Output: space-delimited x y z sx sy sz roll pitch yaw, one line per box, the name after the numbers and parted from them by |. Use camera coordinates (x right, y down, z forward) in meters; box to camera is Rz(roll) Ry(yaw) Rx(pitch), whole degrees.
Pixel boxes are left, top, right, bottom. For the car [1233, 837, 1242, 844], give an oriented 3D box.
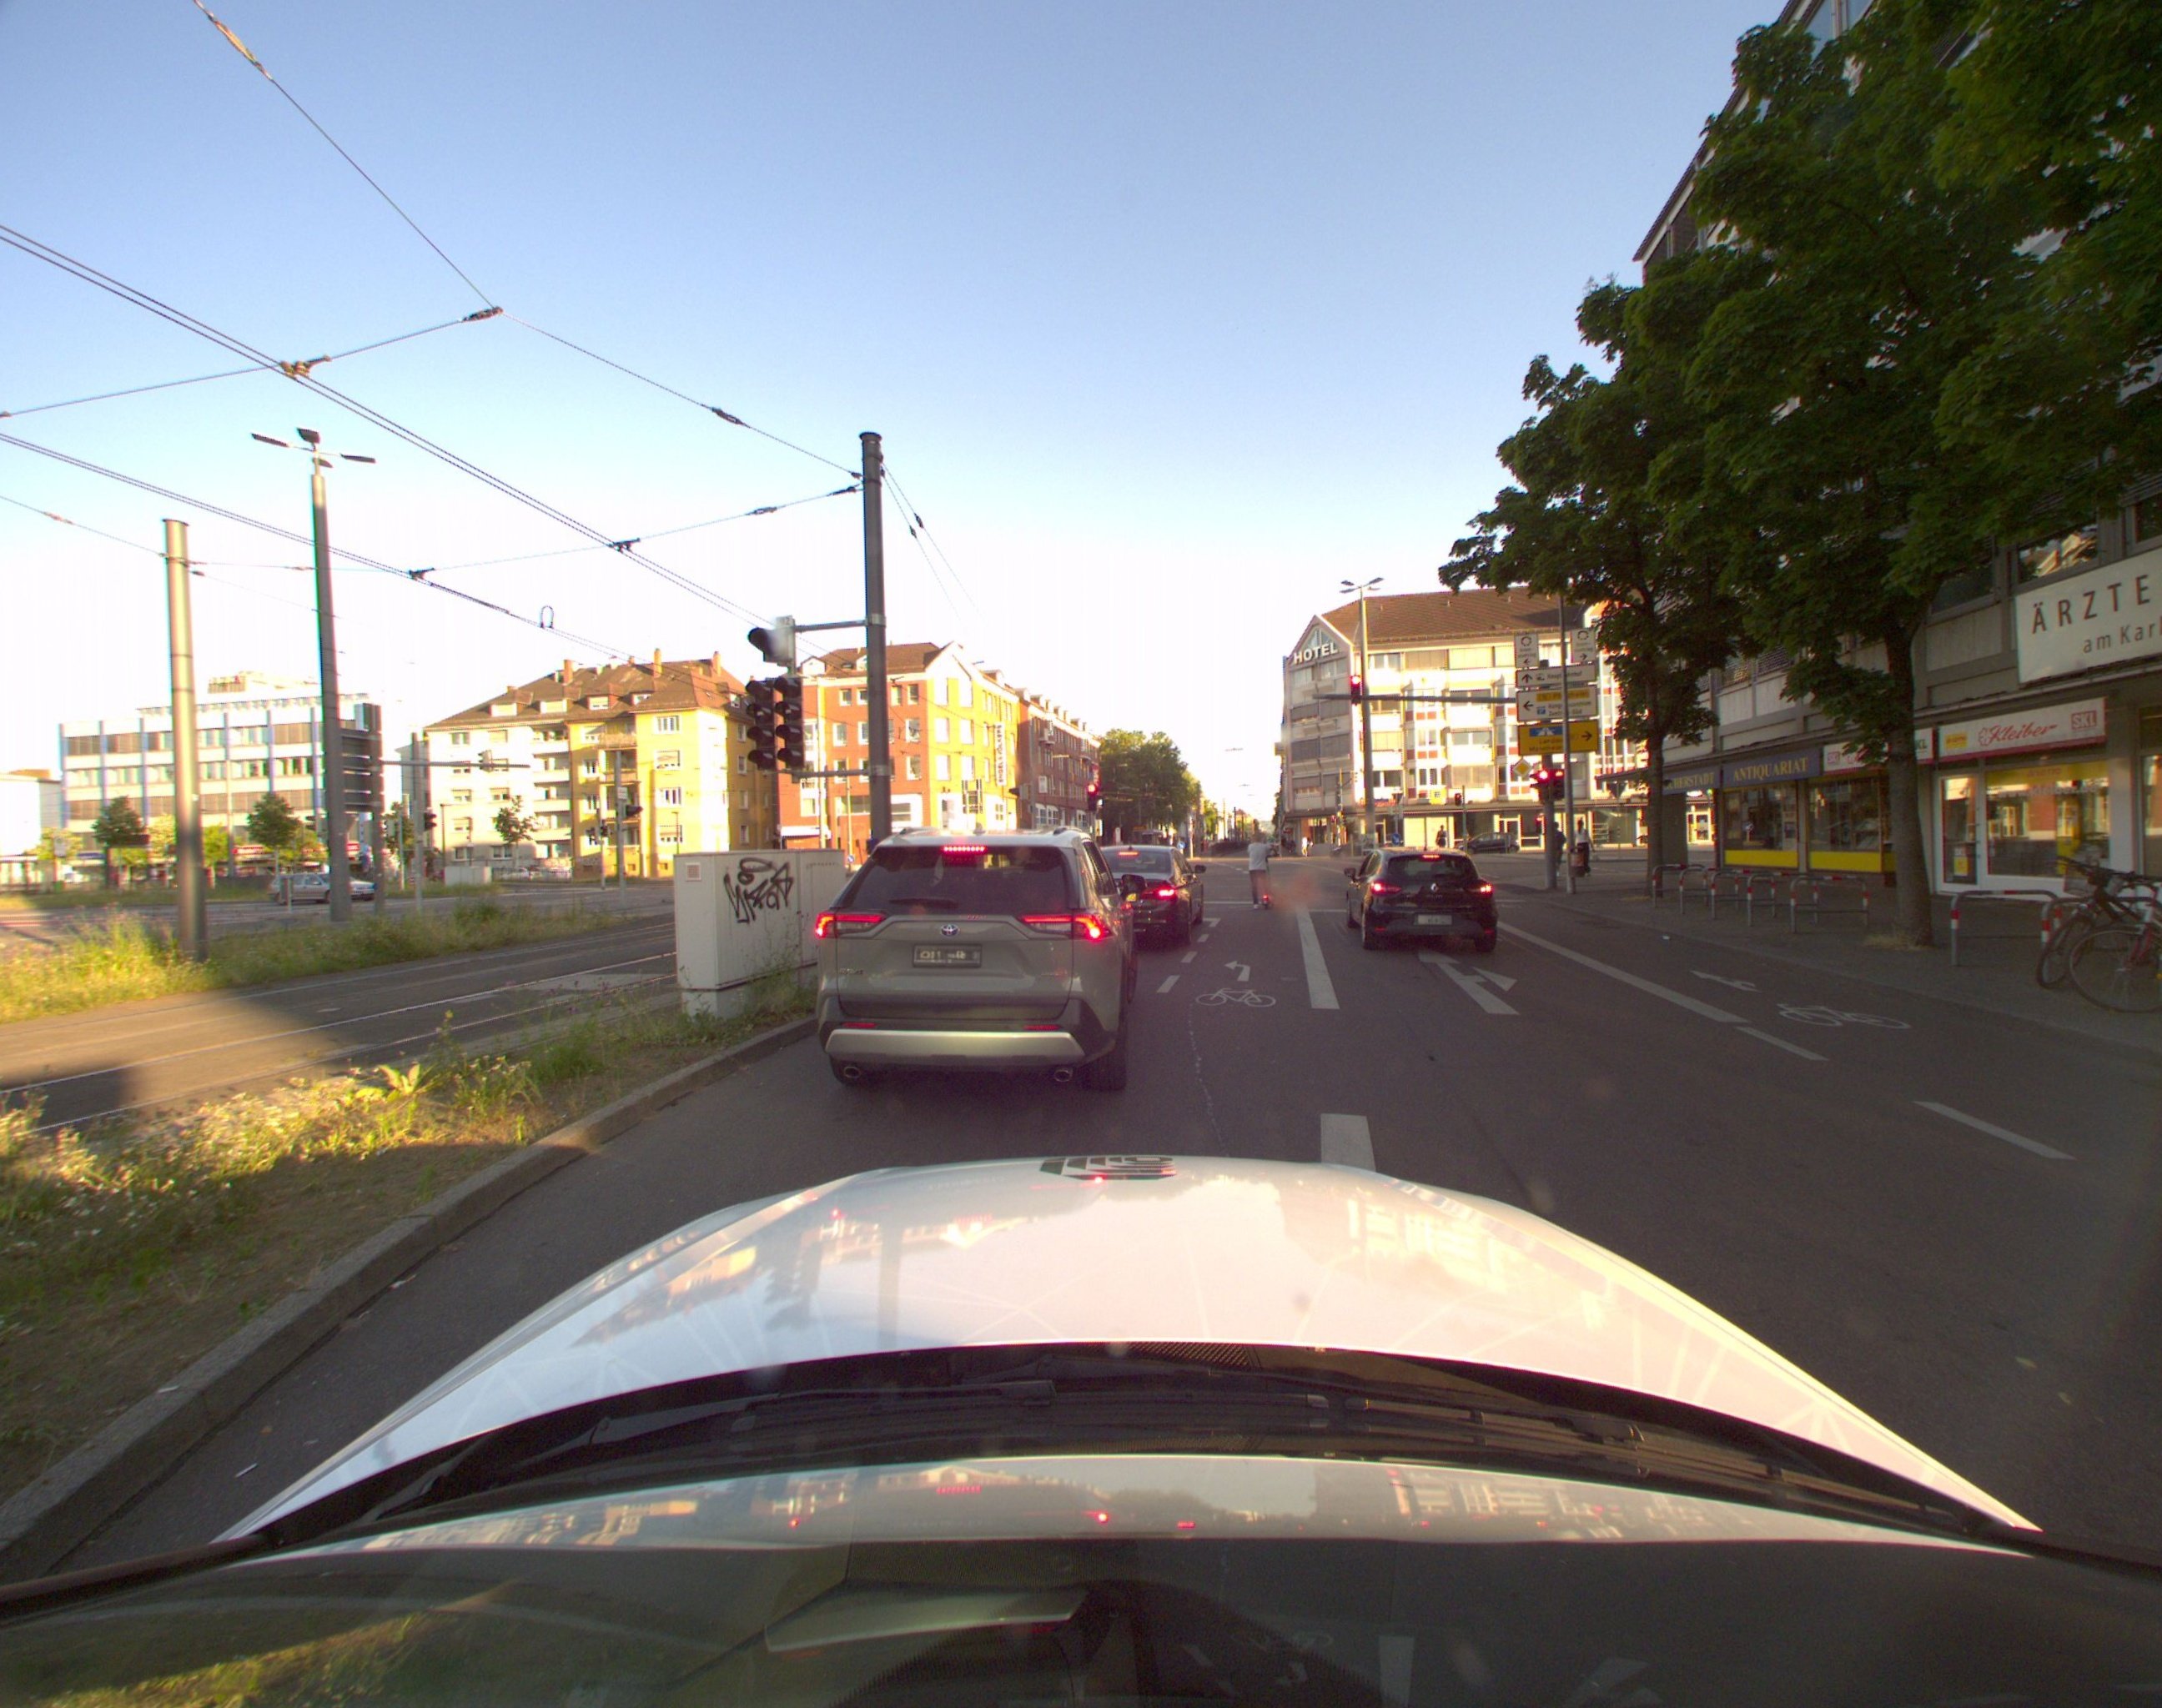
38.717 -3.347 201.538 1.978 1.859 4.017 -2 1 16 | car

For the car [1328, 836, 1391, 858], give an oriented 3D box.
19.455 -0.477 57.054 3.961 1.476 2.006 0 1 11 | car

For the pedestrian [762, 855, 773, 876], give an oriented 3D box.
-26.745 0.972 69.512 0.663 1.743 0.691 -1 0 2 | pedestrian

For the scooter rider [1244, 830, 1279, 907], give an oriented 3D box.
3.954 0.298 17.840 0.656 1.647 0.665 0 1 21 | scooter rider

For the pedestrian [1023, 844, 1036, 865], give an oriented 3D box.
-5.012 0.010 79.220 1.086 2.013 0.911 0 1 11 | pedestrian

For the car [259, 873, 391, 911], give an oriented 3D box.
-34.495 1.719 37.221 4.316 1.551 2.003 -1 1 5 | car

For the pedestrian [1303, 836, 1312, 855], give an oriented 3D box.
18.584 -0.684 66.770 0.495 1.503 0.472 -2 0 -25 | pedestrian

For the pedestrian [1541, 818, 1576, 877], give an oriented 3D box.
15.184 -0.197 25.910 1.003 1.830 0.720 -1 1 -44 | pedestrian

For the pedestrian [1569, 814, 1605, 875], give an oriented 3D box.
15.712 -0.292 25.285 1.003 1.830 0.720 -1 1 -43 | pedestrian

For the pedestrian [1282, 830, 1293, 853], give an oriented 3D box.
21.381 -1.319 84.471 1.077 2.365 1.060 0 1 14 | pedestrian

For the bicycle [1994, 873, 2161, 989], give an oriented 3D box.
9.305 0.667 7.207 1.643 0.974 0.388 0 1 20 | bicycle

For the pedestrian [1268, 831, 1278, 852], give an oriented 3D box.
20.606 -1.371 87.412 0.926 2.196 0.855 0 1 10 | pedestrian

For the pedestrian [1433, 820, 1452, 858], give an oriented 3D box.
17.213 -0.707 38.768 0.741 1.778 0.803 0 0 16 | pedestrian

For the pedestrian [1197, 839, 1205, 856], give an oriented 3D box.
11.795 -0.657 80.048 0.696 1.663 0.811 0 1 15 | pedestrian

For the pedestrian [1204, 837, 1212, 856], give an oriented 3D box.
12.401 -0.742 79.577 0.696 1.822 0.811 0 1 15 | pedestrian

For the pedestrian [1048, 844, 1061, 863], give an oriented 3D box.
-2.725 -0.050 84.172 1.086 2.013 1.167 0 1 11 | pedestrian

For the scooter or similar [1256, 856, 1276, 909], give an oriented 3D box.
4.036 0.593 17.762 0.277 1.090 1.263 0 1 20 | scooter or similar

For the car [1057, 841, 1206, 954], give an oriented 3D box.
1.000 0.544 13.183 1.733 1.460 4.425 0 1 12 | car

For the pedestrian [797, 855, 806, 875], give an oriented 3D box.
-23.992 0.952 69.809 0.547 1.642 0.502 0 1 12 | pedestrian

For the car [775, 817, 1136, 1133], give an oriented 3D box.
-0.527 0.575 6.302 1.827 1.636 4.096 -1 2 5 | car

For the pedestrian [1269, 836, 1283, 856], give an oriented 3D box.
16.529 -0.681 69.051 0.724 1.623 0.766 -2 0 -24 | pedestrian

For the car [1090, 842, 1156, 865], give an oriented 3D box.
3.101 -0.068 59.760 4.523 1.620 2.004 -1 1 10 | car

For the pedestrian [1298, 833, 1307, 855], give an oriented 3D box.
18.093 -0.784 66.539 0.495 1.774 0.472 -2 0 -25 | pedestrian

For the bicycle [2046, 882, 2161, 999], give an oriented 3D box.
8.913 0.683 6.367 1.802 0.891 0.417 0 1 20 | bicycle

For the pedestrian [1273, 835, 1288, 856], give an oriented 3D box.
16.712 -0.716 68.146 0.937 1.726 0.845 0 1 -28 | pedestrian

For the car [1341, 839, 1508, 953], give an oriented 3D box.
5.063 0.511 12.538 1.752 1.440 4.015 0 1 14 | car

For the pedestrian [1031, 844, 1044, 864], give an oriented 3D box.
-4.351 -0.012 81.007 1.086 2.013 0.911 0 1 11 | pedestrian

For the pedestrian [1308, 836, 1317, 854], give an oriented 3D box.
19.042 -0.738 66.991 0.495 1.503 0.472 -2 0 -25 | pedestrian

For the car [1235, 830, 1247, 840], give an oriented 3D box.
30.968 -3.737 157.442 1.979 1.900 4.016 0 1 14 | car

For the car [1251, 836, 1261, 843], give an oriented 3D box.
36.052 -2.947 167.632 1.980 1.310 4.014 -2 1 12 | car

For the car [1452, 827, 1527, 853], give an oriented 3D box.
27.850 -0.953 55.653 4.206 1.696 2.006 0 1 11 | car

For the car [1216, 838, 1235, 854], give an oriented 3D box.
16.463 -0.924 92.503 1.798 1.746 3.730 0 1 15 | car
